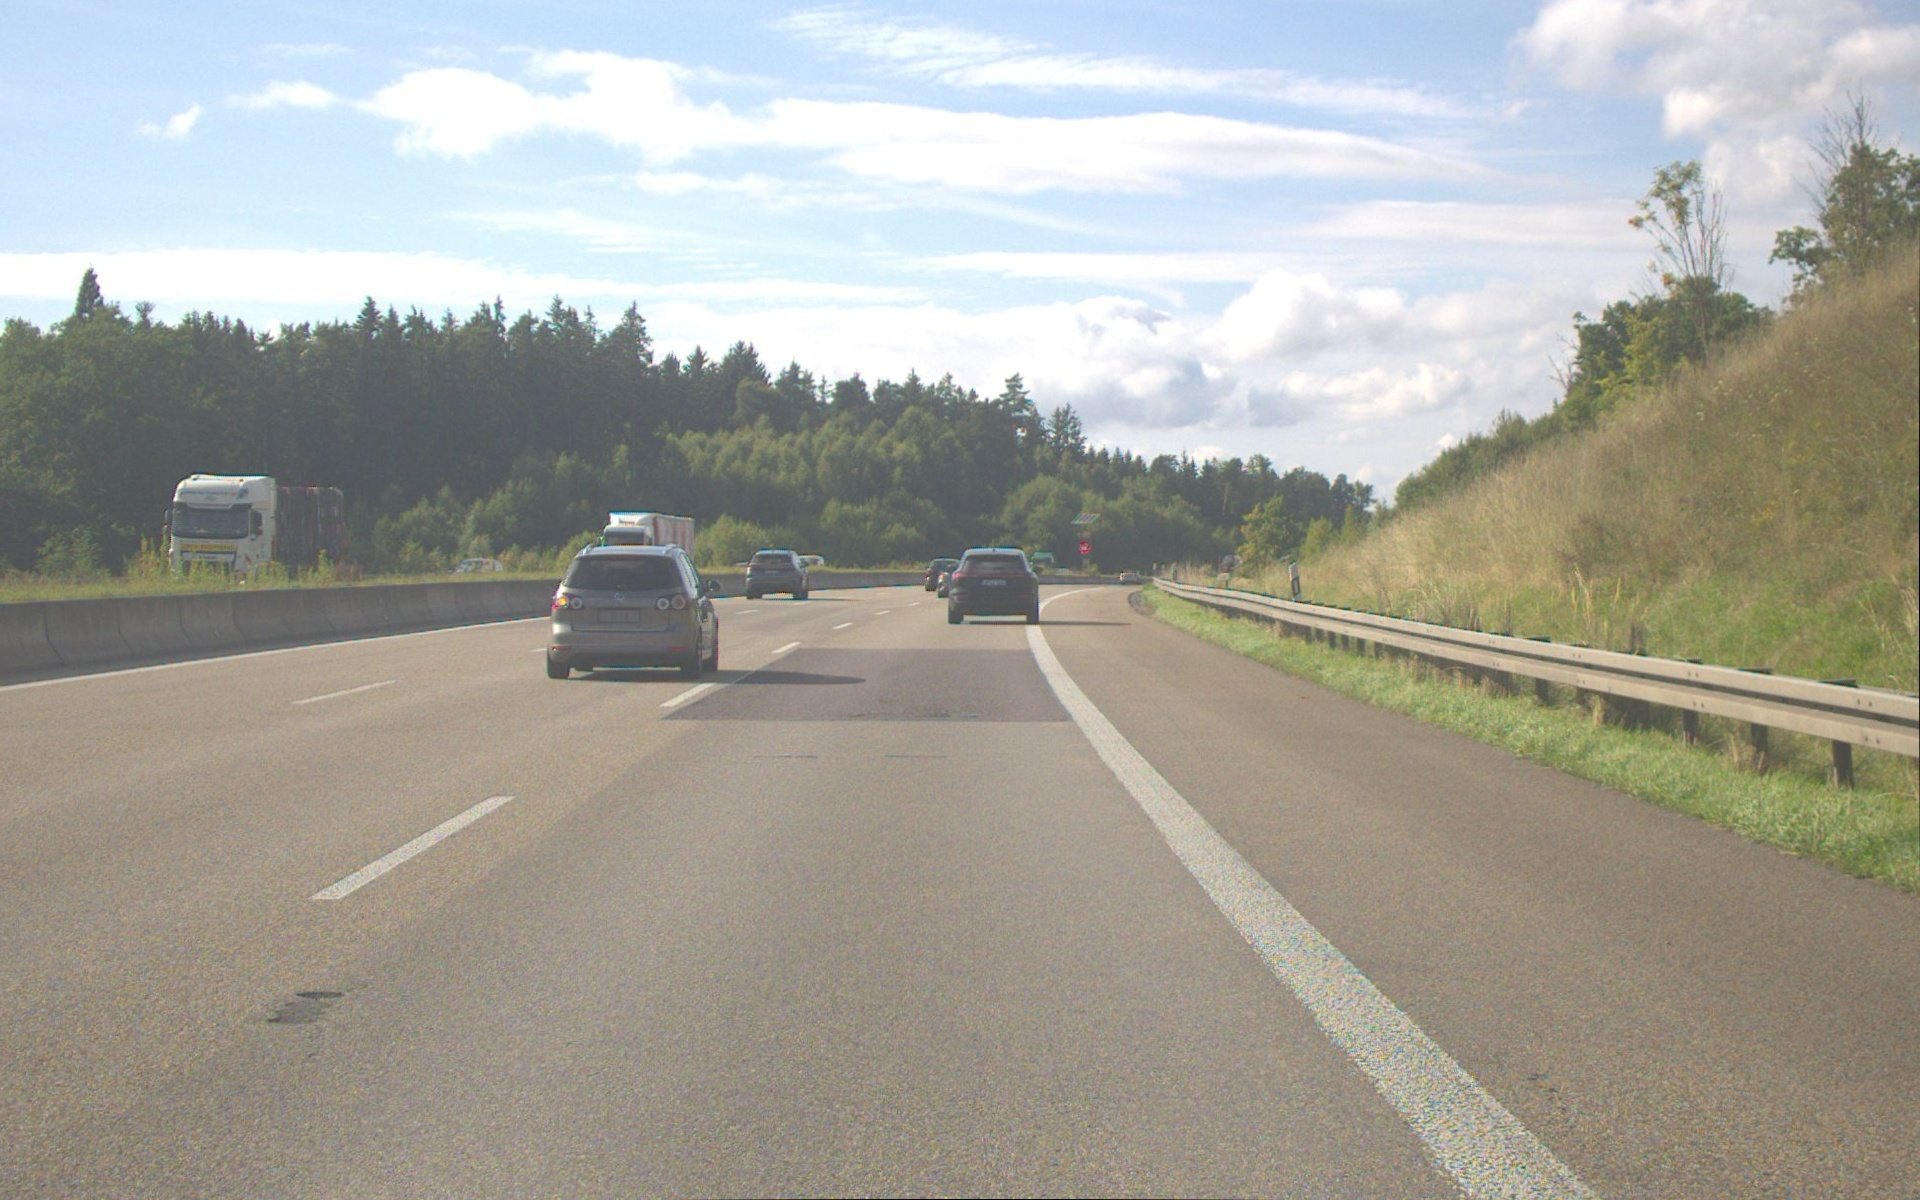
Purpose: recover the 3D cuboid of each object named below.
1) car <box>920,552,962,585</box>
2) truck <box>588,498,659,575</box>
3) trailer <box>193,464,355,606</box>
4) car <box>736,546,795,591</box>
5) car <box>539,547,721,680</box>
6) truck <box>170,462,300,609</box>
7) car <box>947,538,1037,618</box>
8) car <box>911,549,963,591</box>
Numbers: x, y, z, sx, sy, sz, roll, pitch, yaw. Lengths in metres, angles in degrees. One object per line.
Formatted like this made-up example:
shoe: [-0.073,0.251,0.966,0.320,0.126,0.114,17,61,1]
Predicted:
car: [-0.875,-1.461,159.657,1.873,1.492,3.880,0,1,0]
truck: [-18.151,-3.426,185.676,3.024,4.094,5.668,0,1,2]
trailer: [-22.264,-2.088,112.274,2.802,4.377,12.051,0,1,0]
car: [-6.566,-1.068,116.253,1.873,1.492,3.880,0,1,-2]
car: [-3.872,0.119,40.881,1.873,1.492,3.880,0,1,-1]
truck: [-22.287,-1.978,105.880,2.802,4.377,5.464,0,1,0]
car: [0.673,-0.500,74.396,1.873,1.669,3.890,0,1,0]
car: [-0.864,-1.127,127.042,1.873,1.492,3.880,0,1,-1]
